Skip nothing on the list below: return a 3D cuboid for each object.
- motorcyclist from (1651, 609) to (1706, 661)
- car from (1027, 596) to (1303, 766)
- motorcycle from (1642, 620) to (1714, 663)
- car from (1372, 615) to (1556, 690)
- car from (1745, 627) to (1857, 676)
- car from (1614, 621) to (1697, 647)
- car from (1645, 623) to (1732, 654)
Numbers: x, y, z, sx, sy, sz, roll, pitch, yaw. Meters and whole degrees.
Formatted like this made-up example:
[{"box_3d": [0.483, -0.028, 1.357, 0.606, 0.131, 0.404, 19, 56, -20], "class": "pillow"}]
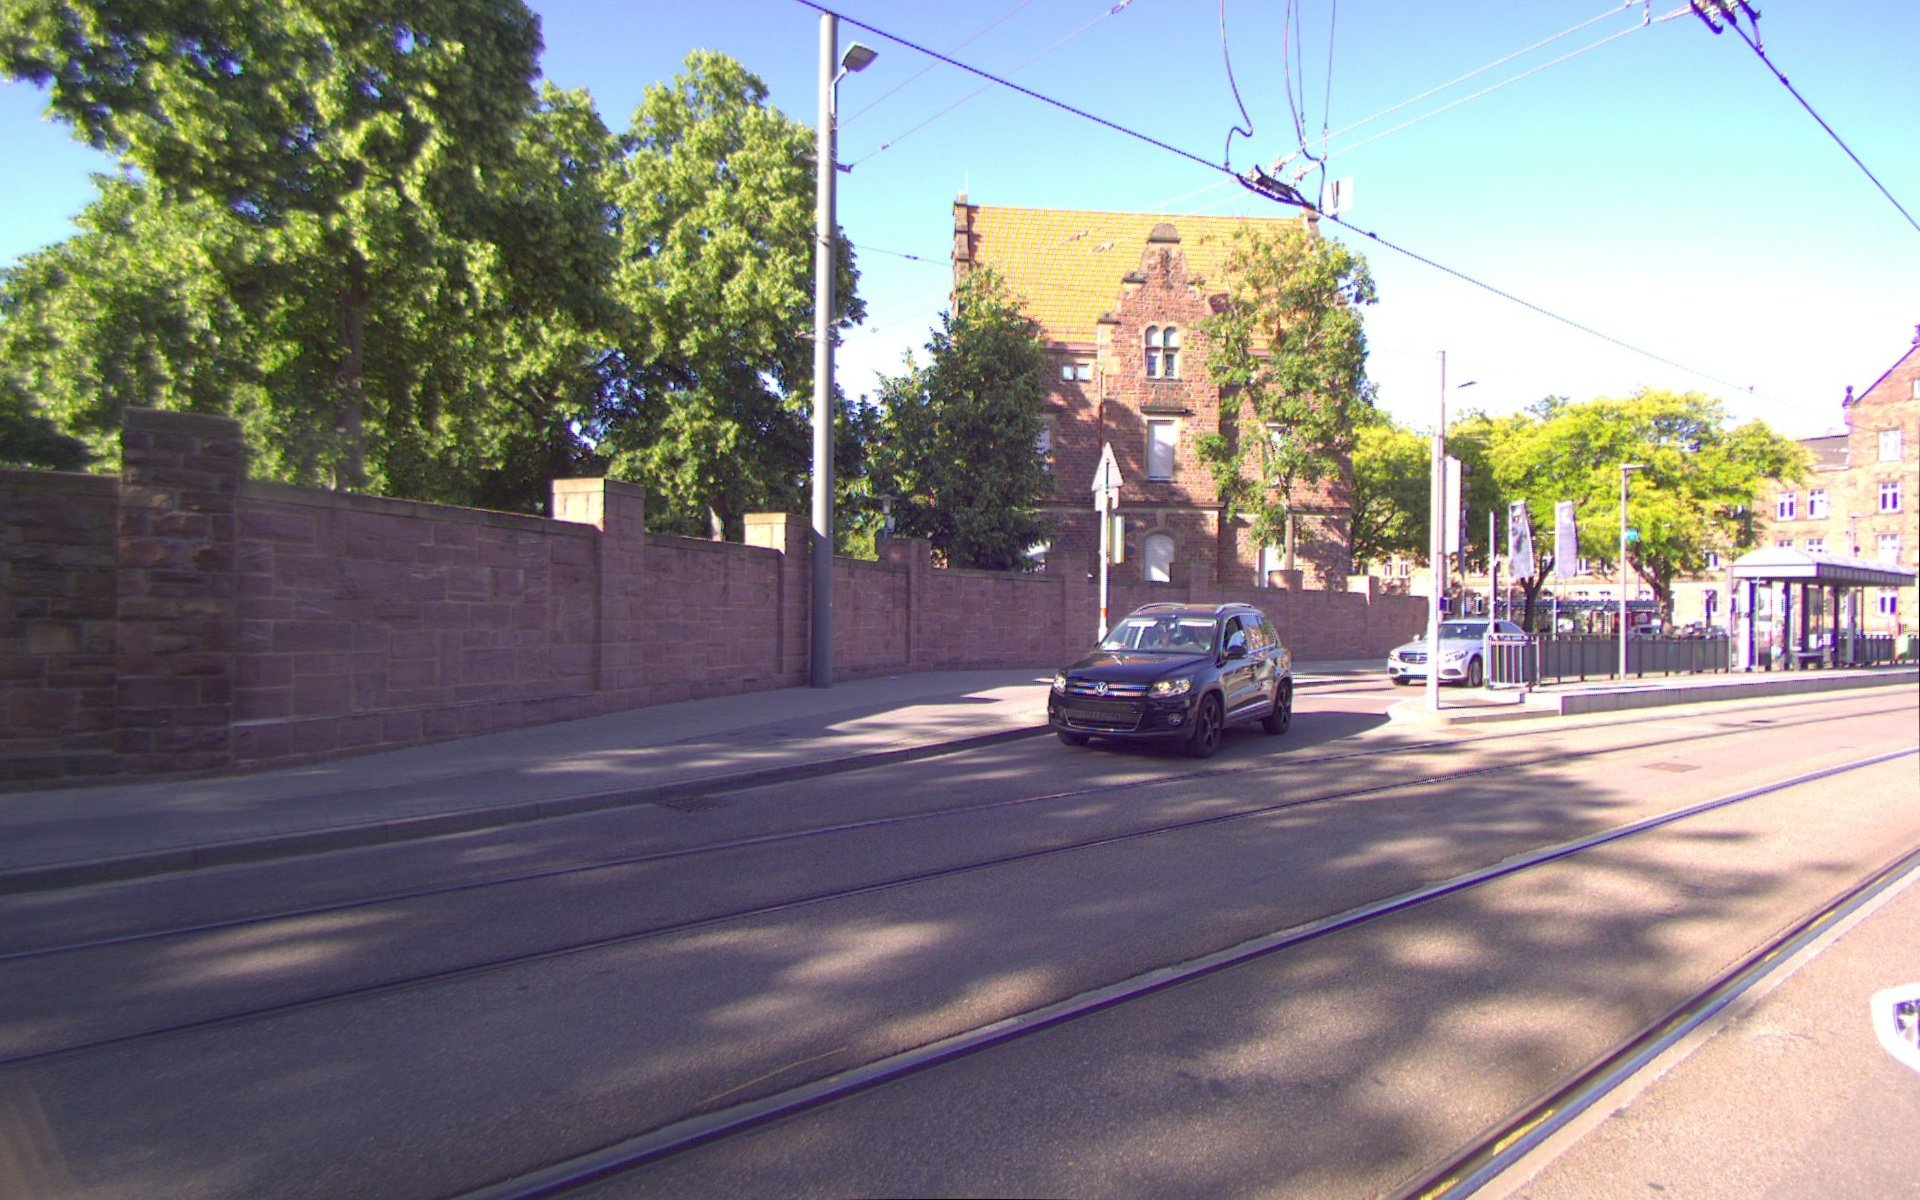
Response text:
[{"box_3d": [22.297, 1.081, 31.168, 1.045, 1.545, 1.116, 2, 0, -37], "class": "motorcyclist"}, {"box_3d": [2.624, 0.848, 12.062, 1.772, 1.659, 4.106, -1, -2, 35], "class": "car"}, {"box_3d": [22.290, 1.279, 31.165, 2.550, 1.260, 1.121, 2, 0, -37], "class": "motorcycle"}, {"box_3d": [11.365, 1.099, 22.520, 4.581, 1.434, 1.869, -1, 0, -37], "class": "car"}, {"box_3d": [30.073, 1.880, 35.913, 3.939, 1.420, 1.847, 6, -9, -31], "class": "car"}, {"box_3d": [45.543, 2.225, 65.838, 1.856, 1.542, 4.044, 2, 0, -31], "class": "car"}, {"box_3d": [43.171, 2.279, 59.589, 1.731, 1.682, 3.838, 2, 0, -31], "class": "car"}]
